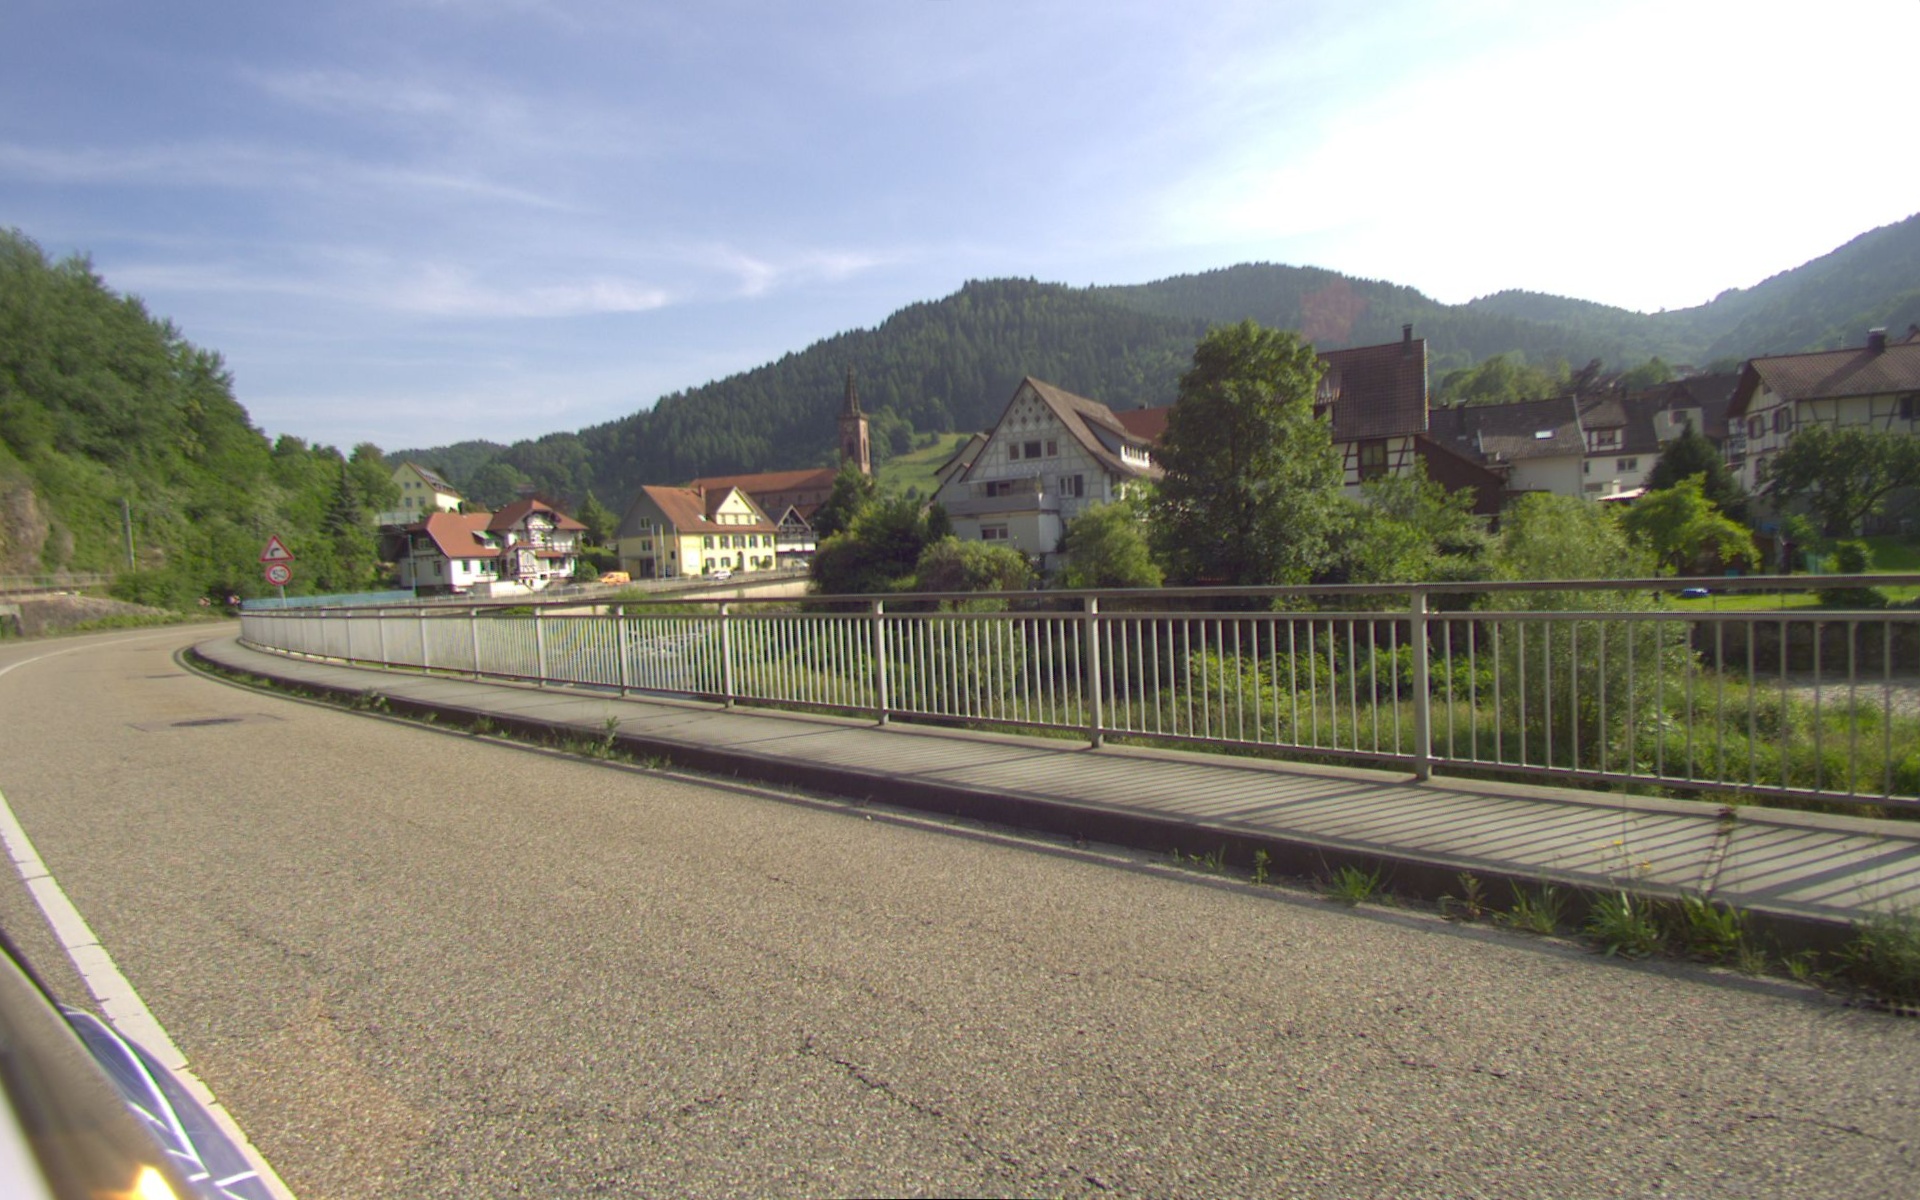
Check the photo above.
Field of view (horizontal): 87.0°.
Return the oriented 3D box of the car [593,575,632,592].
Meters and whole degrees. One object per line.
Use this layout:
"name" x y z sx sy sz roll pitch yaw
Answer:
"car" -44.853 -2.165 130.748 1.904 2.013 4.792 -1 -1 26
